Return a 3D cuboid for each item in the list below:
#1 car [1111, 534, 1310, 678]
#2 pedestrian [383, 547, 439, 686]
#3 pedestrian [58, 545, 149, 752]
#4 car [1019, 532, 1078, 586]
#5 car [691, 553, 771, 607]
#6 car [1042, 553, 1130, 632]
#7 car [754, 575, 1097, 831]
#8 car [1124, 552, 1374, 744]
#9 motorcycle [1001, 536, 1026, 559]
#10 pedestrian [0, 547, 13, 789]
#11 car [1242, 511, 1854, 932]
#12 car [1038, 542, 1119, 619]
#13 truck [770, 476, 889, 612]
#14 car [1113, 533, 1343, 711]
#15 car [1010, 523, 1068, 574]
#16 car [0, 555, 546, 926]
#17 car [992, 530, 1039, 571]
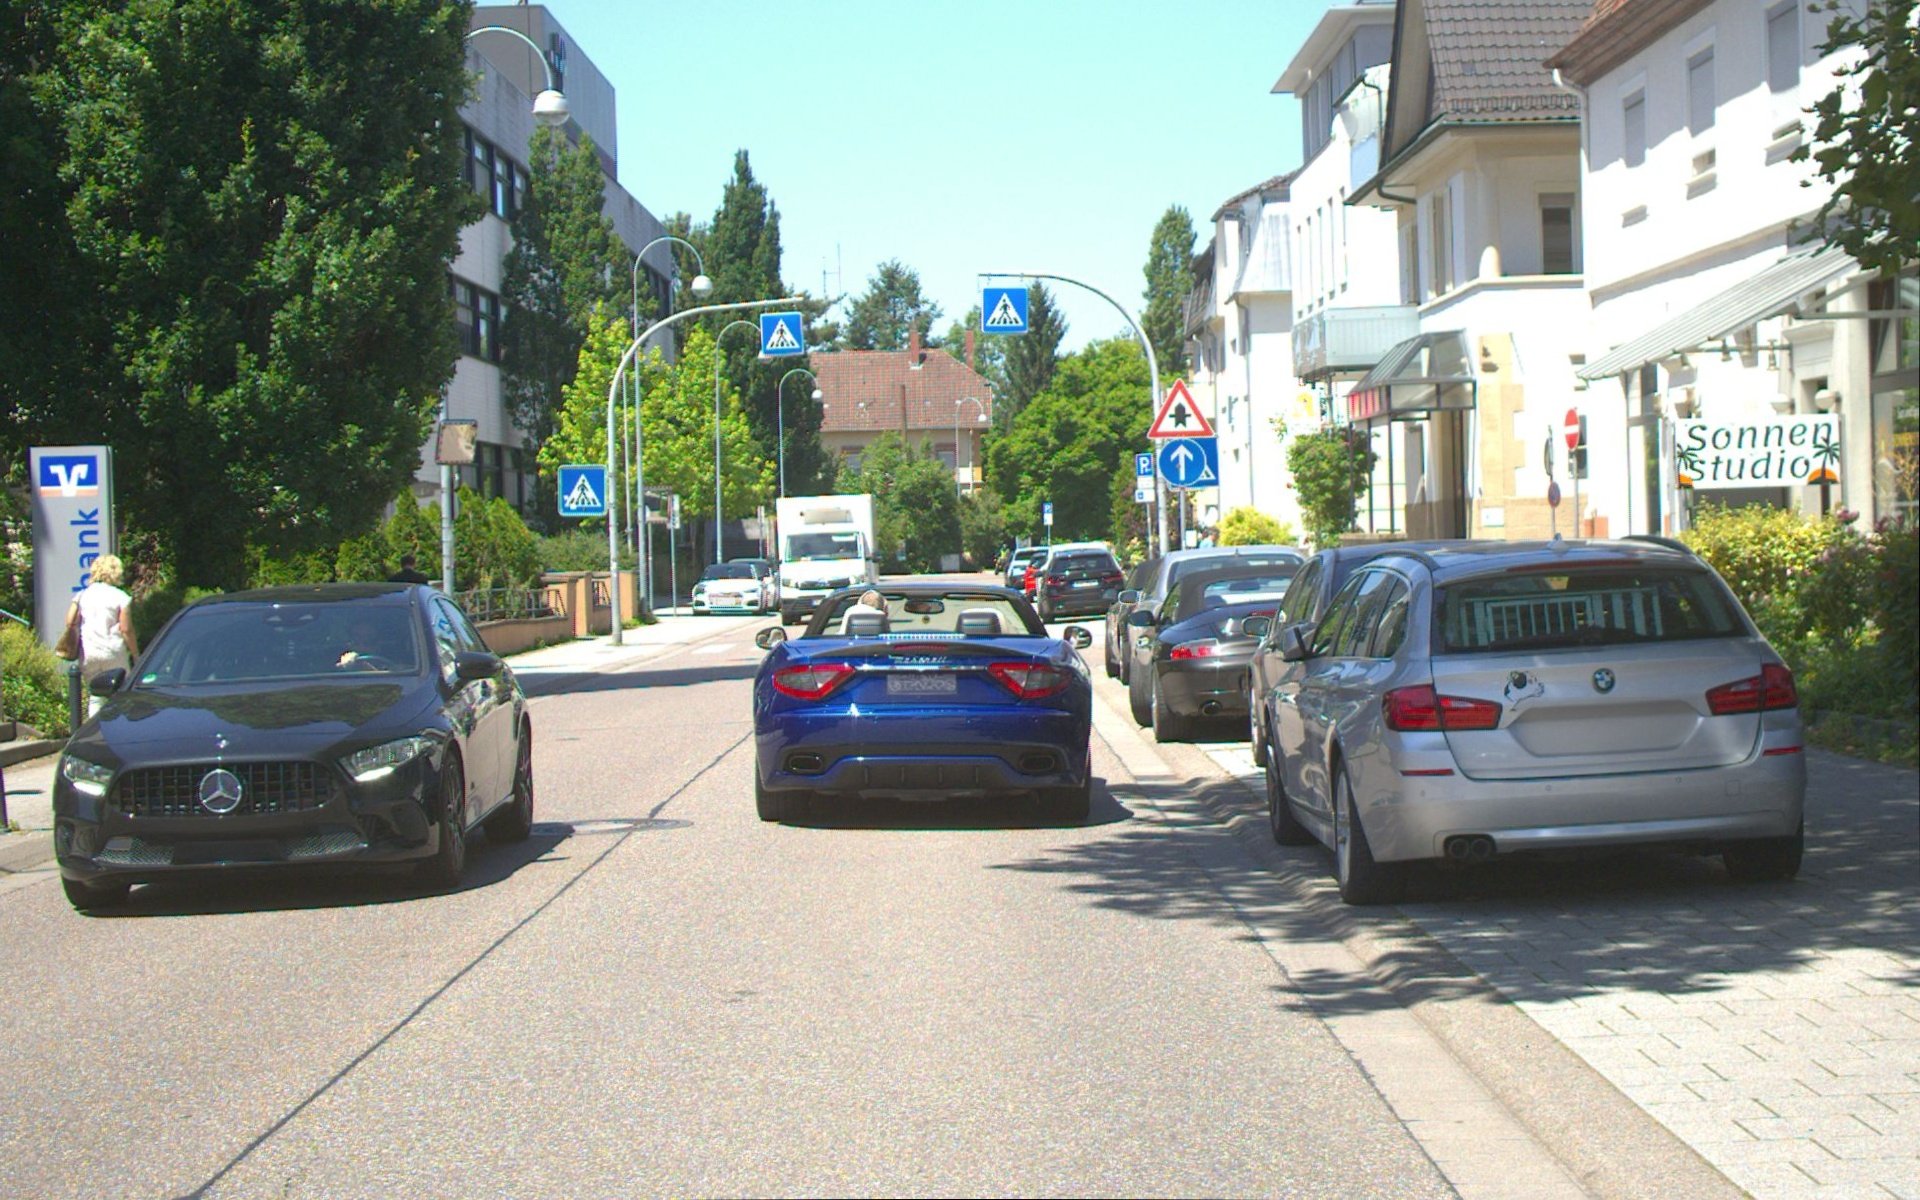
[{"bbox_3d":[2.723,0.028,38.321,1.827,1.422,4.700,-3,1,0],"label":"car"},{"bbox_3d":[-6.724,0.197,42.094,0.536,1.679,0.708,-1,1,0],"label":"pedestrian"},{"bbox_3d":[-7.071,0.392,28.395,0.536,1.679,0.708,-1,1,0],"label":"pedestrian"},{"bbox_3d":[2.576,-1.223,100.544,1.603,1.436,3.853,-4,1,1],"label":"car"},{"bbox_3d":[-6.153,-0.553,92.909,1.822,1.406,4.577,0,1,0],"label":"car"},{"bbox_3d":[2.630,-0.183,72.420,1.705,1.551,4.748,-1,1,0],"label":"car"},{"bbox_3d":[-0.179,0.531,20.701,1.826,1.332,4.700,0,1,0],"label":"car"},{"bbox_3d":[2.226,0.328,27.399,1.558,1.336,4.174,-3,1,0],"label":"car"},{"bbox_3d":[2.719,-2.704,175.857,0.699,1.103,1.788,-3,1,19],"label":"motorcycle"},{"bbox_3d":[-6.895,0.476,23.171,0.748,1.639,0.848,-2,1,-1],"label":"pedestrian"},{"bbox_3d":[2.418,0.425,15.372,1.829,1.506,4.760,-3,1,0],"label":"car"},{"bbox_3d":[2.685,-0.462,78.524,1.705,1.660,4.580,-1,1,1],"label":"car"},{"bbox_3d":[-2.990,-1.315,80.355,2.420,2.973,6.258,-2,1,0],"label":"truck"},{"bbox_3d":[2.489,0.161,32.965,1.744,1.463,4.852,-4,1,0],"label":"car"},{"bbox_3d":[2.688,-1.761,117.229,1.843,1.614,4.427,-3,1,1],"label":"car"},{"bbox_3d":[-3.251,0.583,17.048,1.829,1.506,4.262,-3,1,0],"label":"car"},{"bbox_3d":[2.098,-1.913,131.693,1.631,1.441,4.398,-4,1,0],"label":"car"}]
